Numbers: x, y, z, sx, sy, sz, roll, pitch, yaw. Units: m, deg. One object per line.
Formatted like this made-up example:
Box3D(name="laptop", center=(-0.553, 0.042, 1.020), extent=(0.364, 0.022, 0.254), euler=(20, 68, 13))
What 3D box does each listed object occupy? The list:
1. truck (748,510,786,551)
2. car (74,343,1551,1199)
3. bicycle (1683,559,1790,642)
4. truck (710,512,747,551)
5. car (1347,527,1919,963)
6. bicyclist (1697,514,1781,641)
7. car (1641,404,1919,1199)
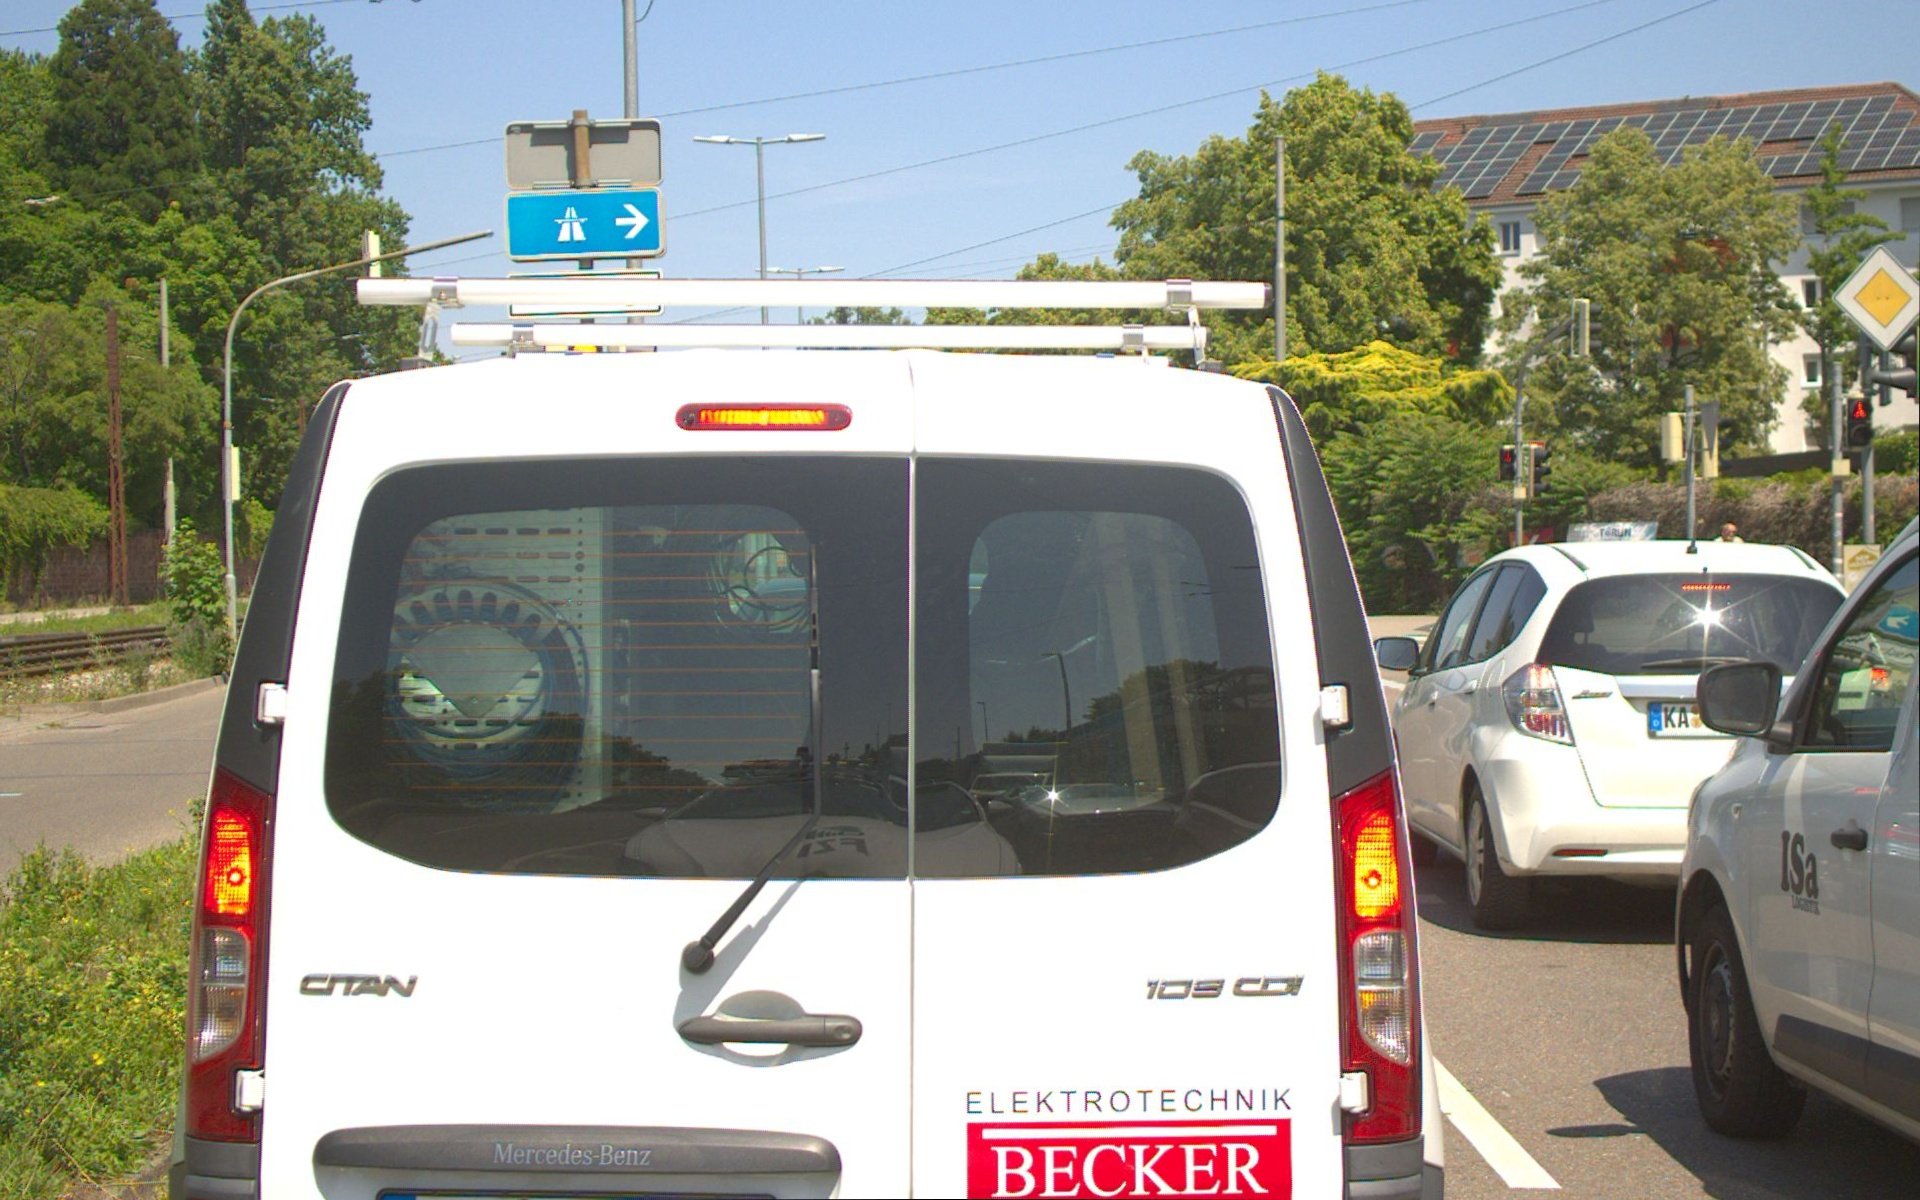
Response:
Box3D(name="truck", center=(-12.610, -4.508, 224.938), extent=(2.139, 2.579, 5.890), euler=(1, 1, -1))
Box3D(name="car", center=(-0.209, 0.525, 6.459), extent=(1.821, 1.734, 4.396), euler=(0, 1, -1))
Box3D(name="bicycle", center=(11.024, -0.007, 48.879), extent=(0.892, 1.155, 1.956), euler=(0, 1, -7))
Box3D(name="truck", center=(-15.745, -4.641, 233.821), extent=(2.139, 2.579, 5.890), euler=(1, 1, -1))
Box3D(name="car", center=(2.818, 0.492, 14.592), extent=(1.835, 1.563, 4.000), euler=(1, 1, -1))
Box3D(name="bicyclist", center=(11.062, -0.326, 48.854), extent=(0.973, 1.782, 0.726), euler=(0, 0, -6))
Box3D(name="car", center=(2.771, 0.504, 7.271), extent=(1.727, 1.782, 4.065), euler=(1, 1, -2))
